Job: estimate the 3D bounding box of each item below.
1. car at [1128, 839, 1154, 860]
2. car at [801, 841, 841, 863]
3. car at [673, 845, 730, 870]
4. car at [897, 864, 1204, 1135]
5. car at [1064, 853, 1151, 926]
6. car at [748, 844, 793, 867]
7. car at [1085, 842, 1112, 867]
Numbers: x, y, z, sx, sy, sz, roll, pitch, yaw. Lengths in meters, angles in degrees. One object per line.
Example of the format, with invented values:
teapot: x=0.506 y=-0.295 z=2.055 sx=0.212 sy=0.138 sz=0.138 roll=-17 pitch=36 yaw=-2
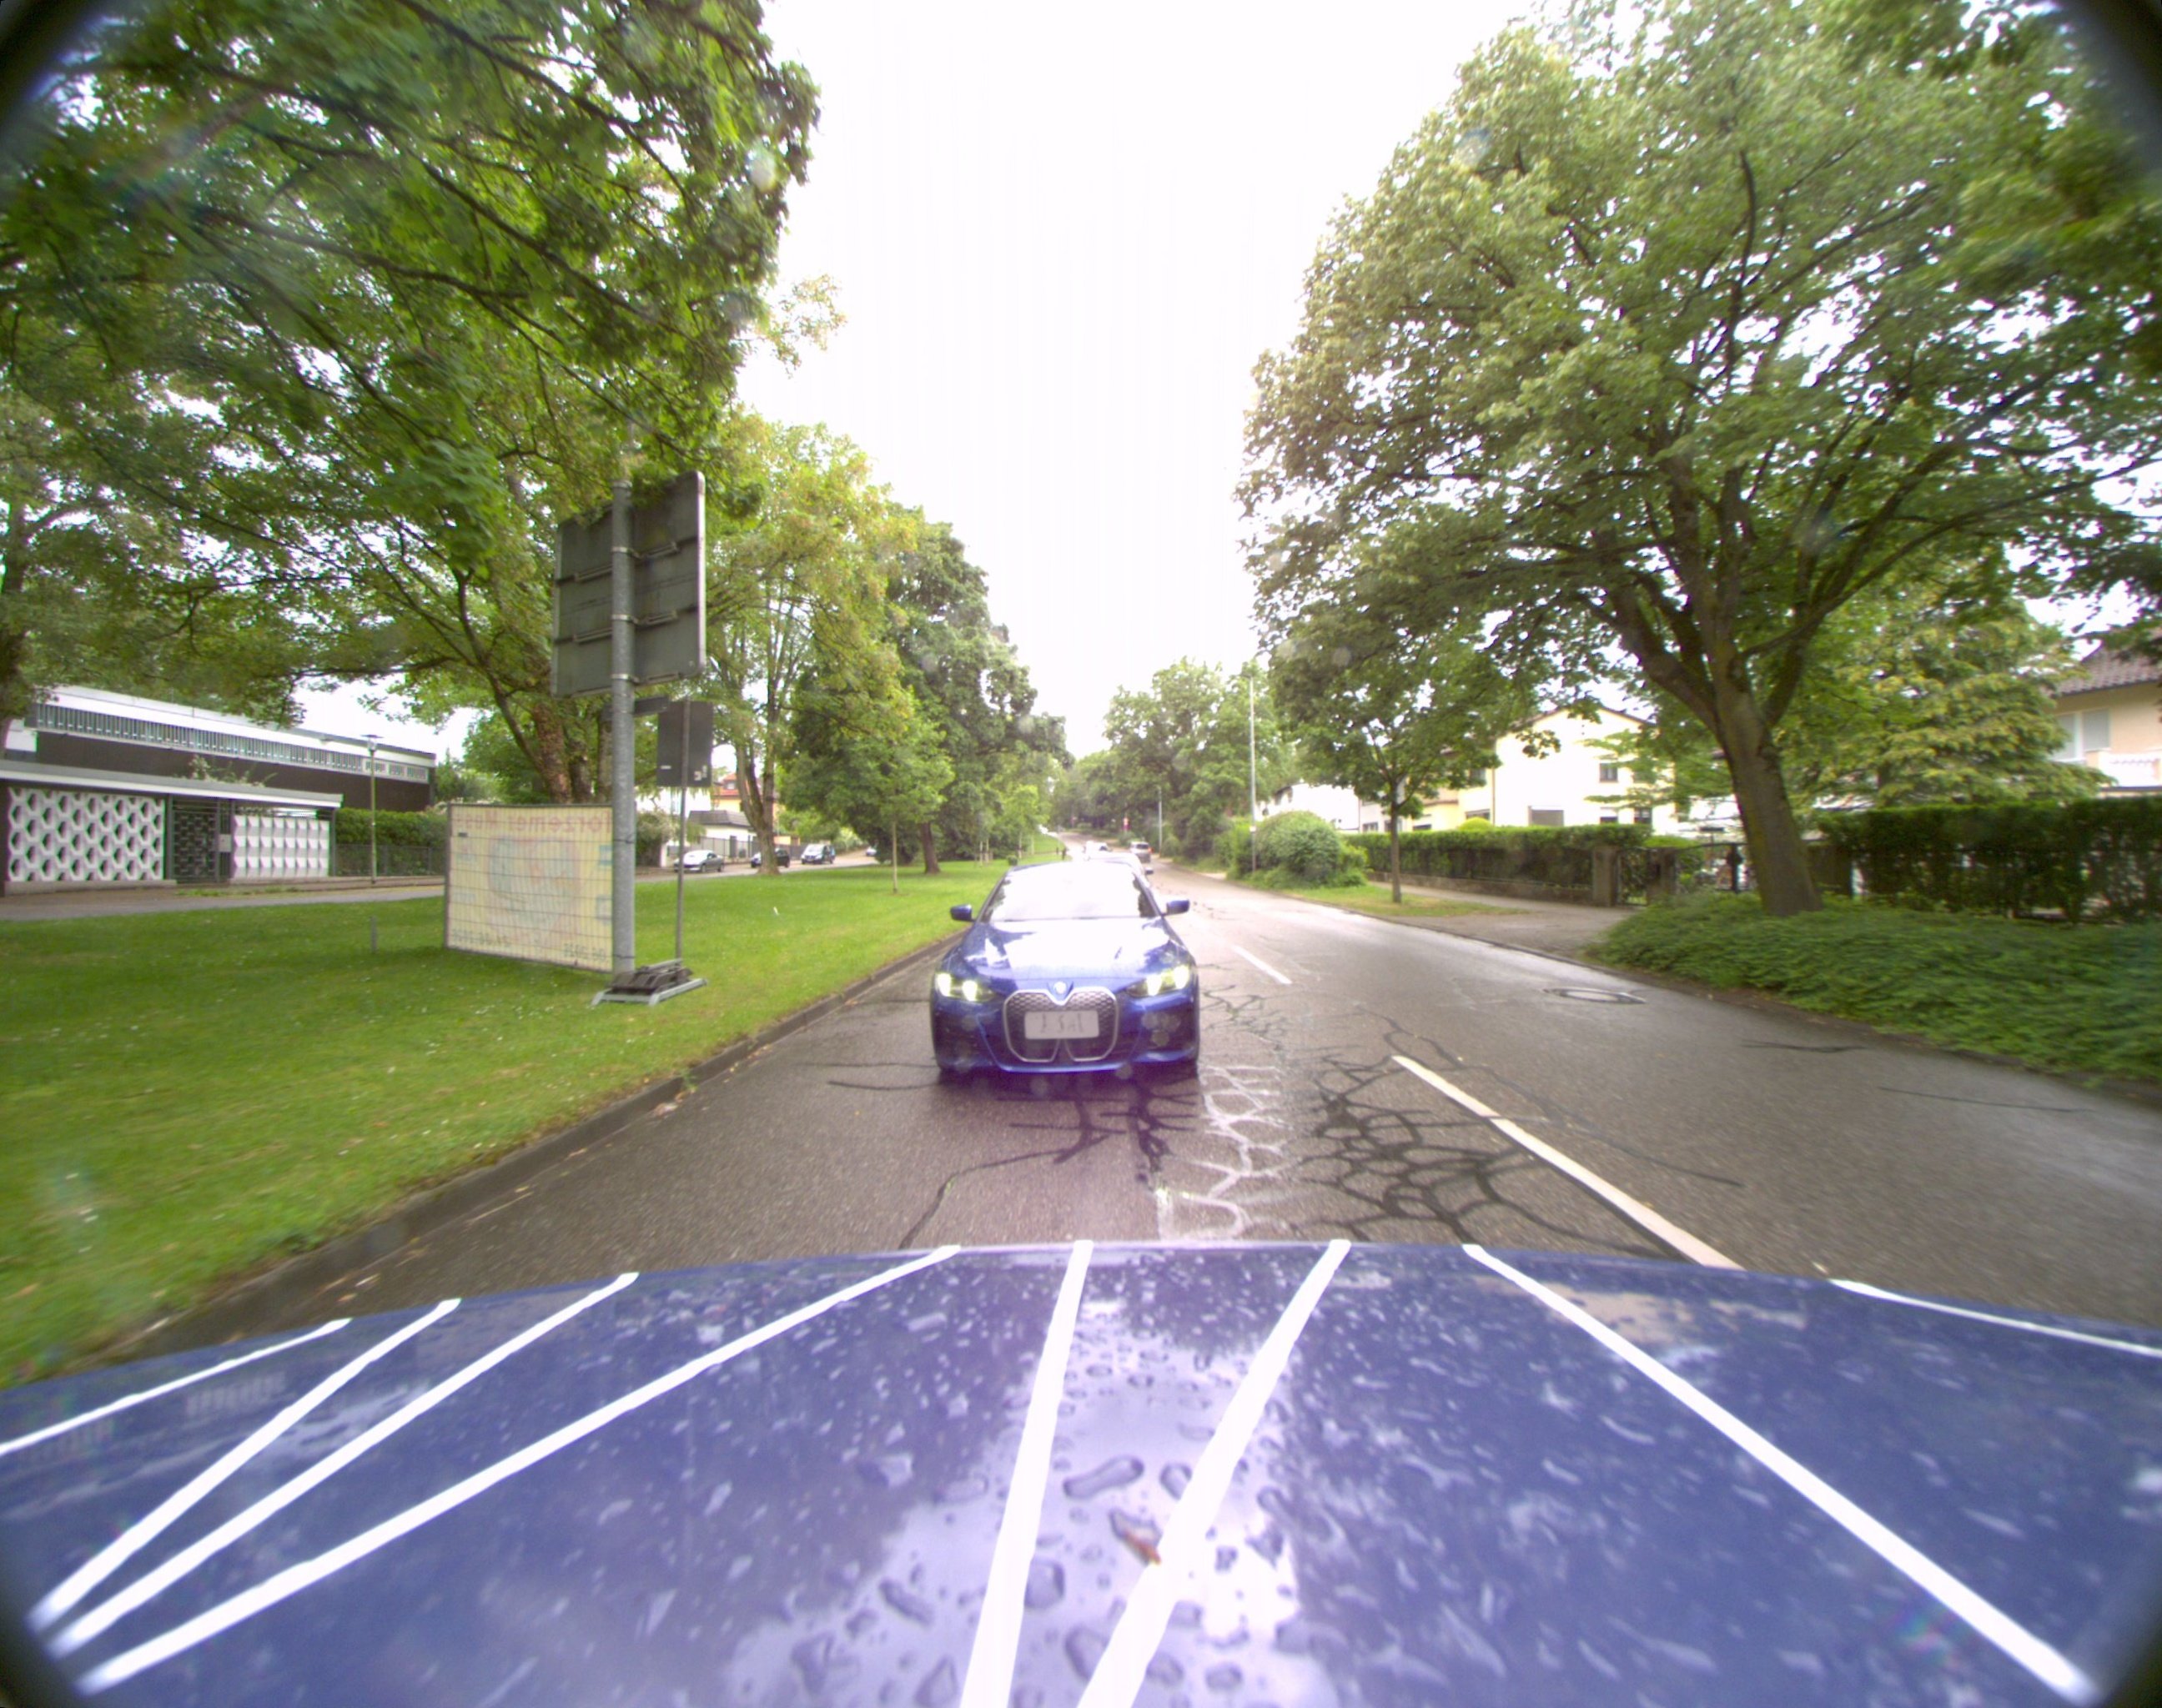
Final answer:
car: x=4.742 y=-0.327 z=60.472 sx=1.768 sy=1.605 sz=4.140 roll=0 pitch=1 yaw=0
car: x=-24.320 y=-0.224 z=71.263 sx=2.165 sy=1.868 sz=5.067 roll=0 pitch=2 yaw=-2
car: x=-23.233 y=0.206 z=46.611 sx=1.686 sy=1.368 sz=3.708 roll=2 pitch=1 yaw=-2
car: x=-0.076 y=0.911 z=6.785 sx=1.796 sy=1.459 sz=4.510 roll=-2 pitch=1 yaw=3
car: x=0.653 y=0.732 z=17.985 sx=1.796 sy=1.459 sz=4.510 roll=-1 pitch=0 yaw=3
car: x=-23.847 y=0.102 z=58.558 sx=1.907 sy=1.615 sz=4.033 roll=0 pitch=2 yaw=-2
car: x=1.143 y=-0.012 z=50.126 sx=1.678 sy=1.542 sz=3.831 roll=0 pitch=2 yaw=1
